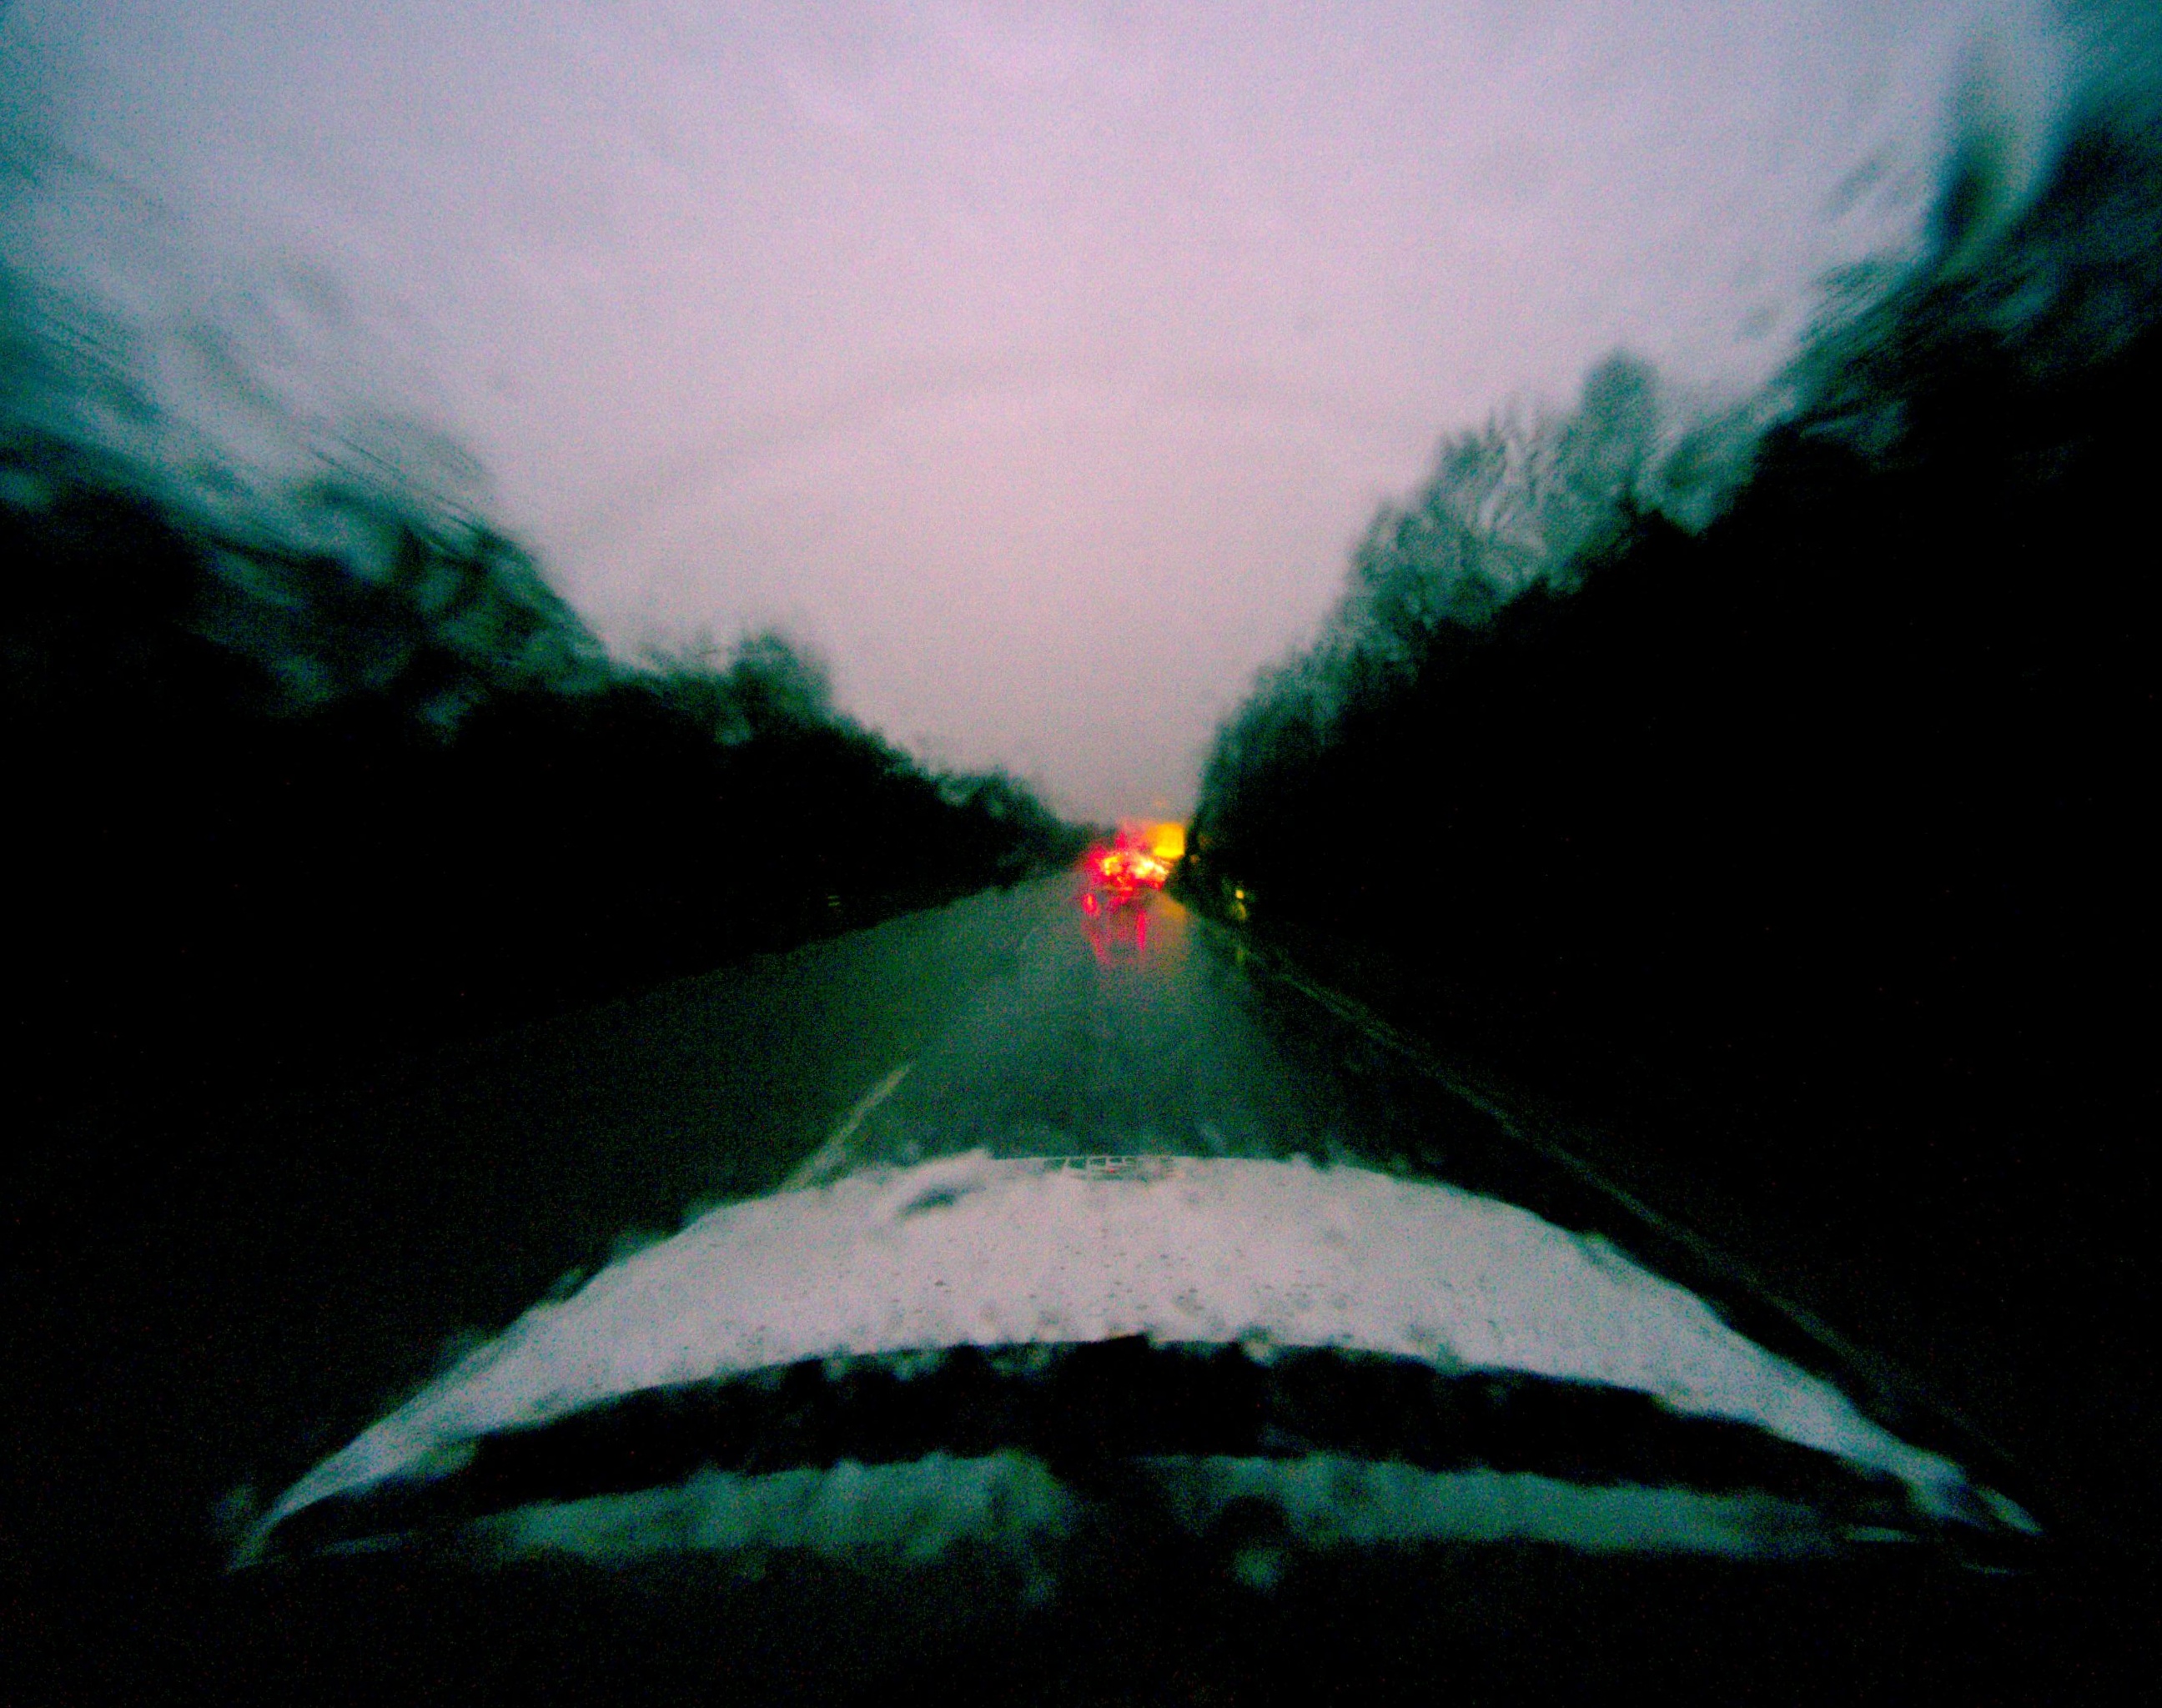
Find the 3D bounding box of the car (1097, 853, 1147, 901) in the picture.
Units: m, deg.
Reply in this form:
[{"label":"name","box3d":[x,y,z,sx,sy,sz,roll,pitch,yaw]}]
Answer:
[{"label":"car","box3d":[1.533,0.798,30.360,1.721,1.643,4.003,-1,0,3]}]

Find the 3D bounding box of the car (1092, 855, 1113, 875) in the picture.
[{"label":"car","box3d":[1.934,0.963,71.801,1.721,1.643,4.003,-1,0,3]}]
